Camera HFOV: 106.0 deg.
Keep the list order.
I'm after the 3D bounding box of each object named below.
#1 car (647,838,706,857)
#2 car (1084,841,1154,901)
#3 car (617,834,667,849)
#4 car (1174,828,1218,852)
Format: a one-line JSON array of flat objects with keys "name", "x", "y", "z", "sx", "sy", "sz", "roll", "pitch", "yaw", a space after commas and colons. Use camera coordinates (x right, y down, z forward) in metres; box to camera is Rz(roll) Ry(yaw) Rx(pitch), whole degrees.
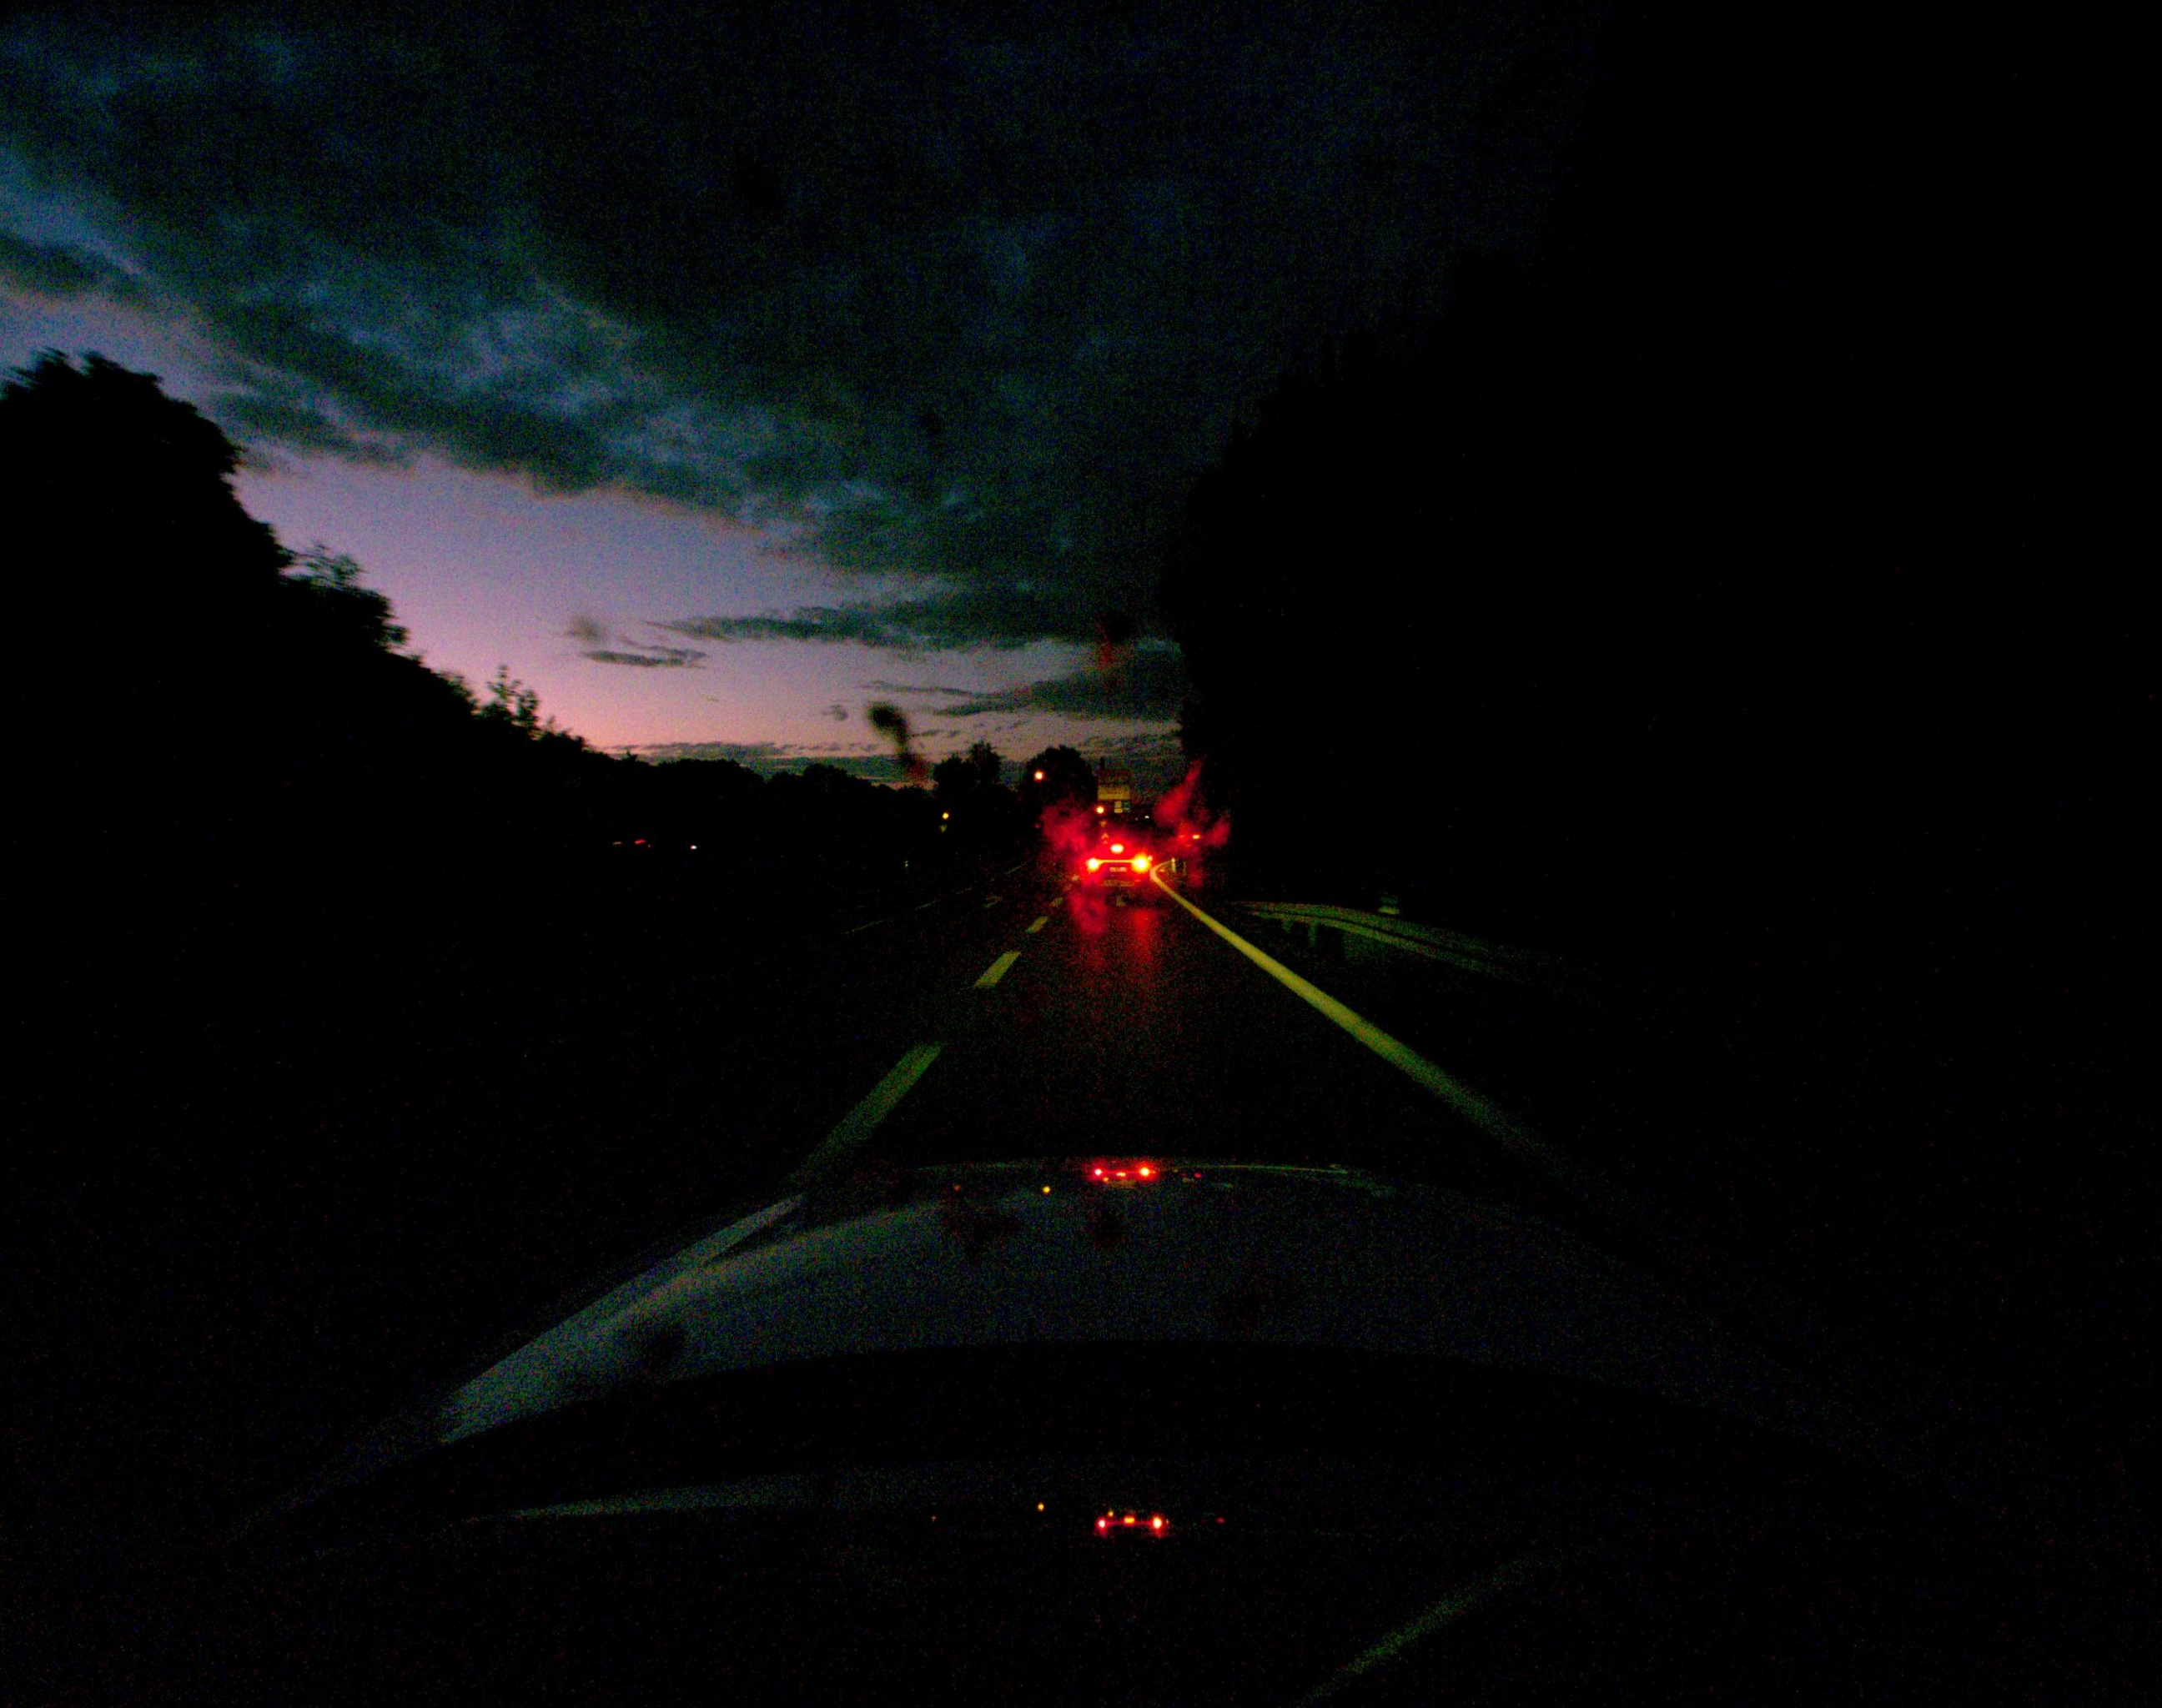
[{"name": "car", "x": -33.795, "y": -0.540, "z": 68.198, "sx": 3.992, "sy": 1.453, "sz": 1.991, "roll": -2, "pitch": 1, "yaw": -14}, {"name": "car", "x": 1.084, "y": 0.465, "z": 24.777, "sx": 1.894, "sy": 1.620, "sz": 4.556, "roll": -1, "pitch": 0, "yaw": 1}, {"name": "car", "x": -44.652, "y": -1.263, "z": 82.928, "sx": 3.991, "sy": 1.453, "sz": 1.992, "roll": 0, "pitch": 1, "yaw": -13}, {"name": "car", "x": 8.508, "y": -0.972, "z": 60.066, "sx": 1.764, "sy": 1.653, "sz": 4.025, "roll": -1, "pitch": -1, "yaw": 30}]
